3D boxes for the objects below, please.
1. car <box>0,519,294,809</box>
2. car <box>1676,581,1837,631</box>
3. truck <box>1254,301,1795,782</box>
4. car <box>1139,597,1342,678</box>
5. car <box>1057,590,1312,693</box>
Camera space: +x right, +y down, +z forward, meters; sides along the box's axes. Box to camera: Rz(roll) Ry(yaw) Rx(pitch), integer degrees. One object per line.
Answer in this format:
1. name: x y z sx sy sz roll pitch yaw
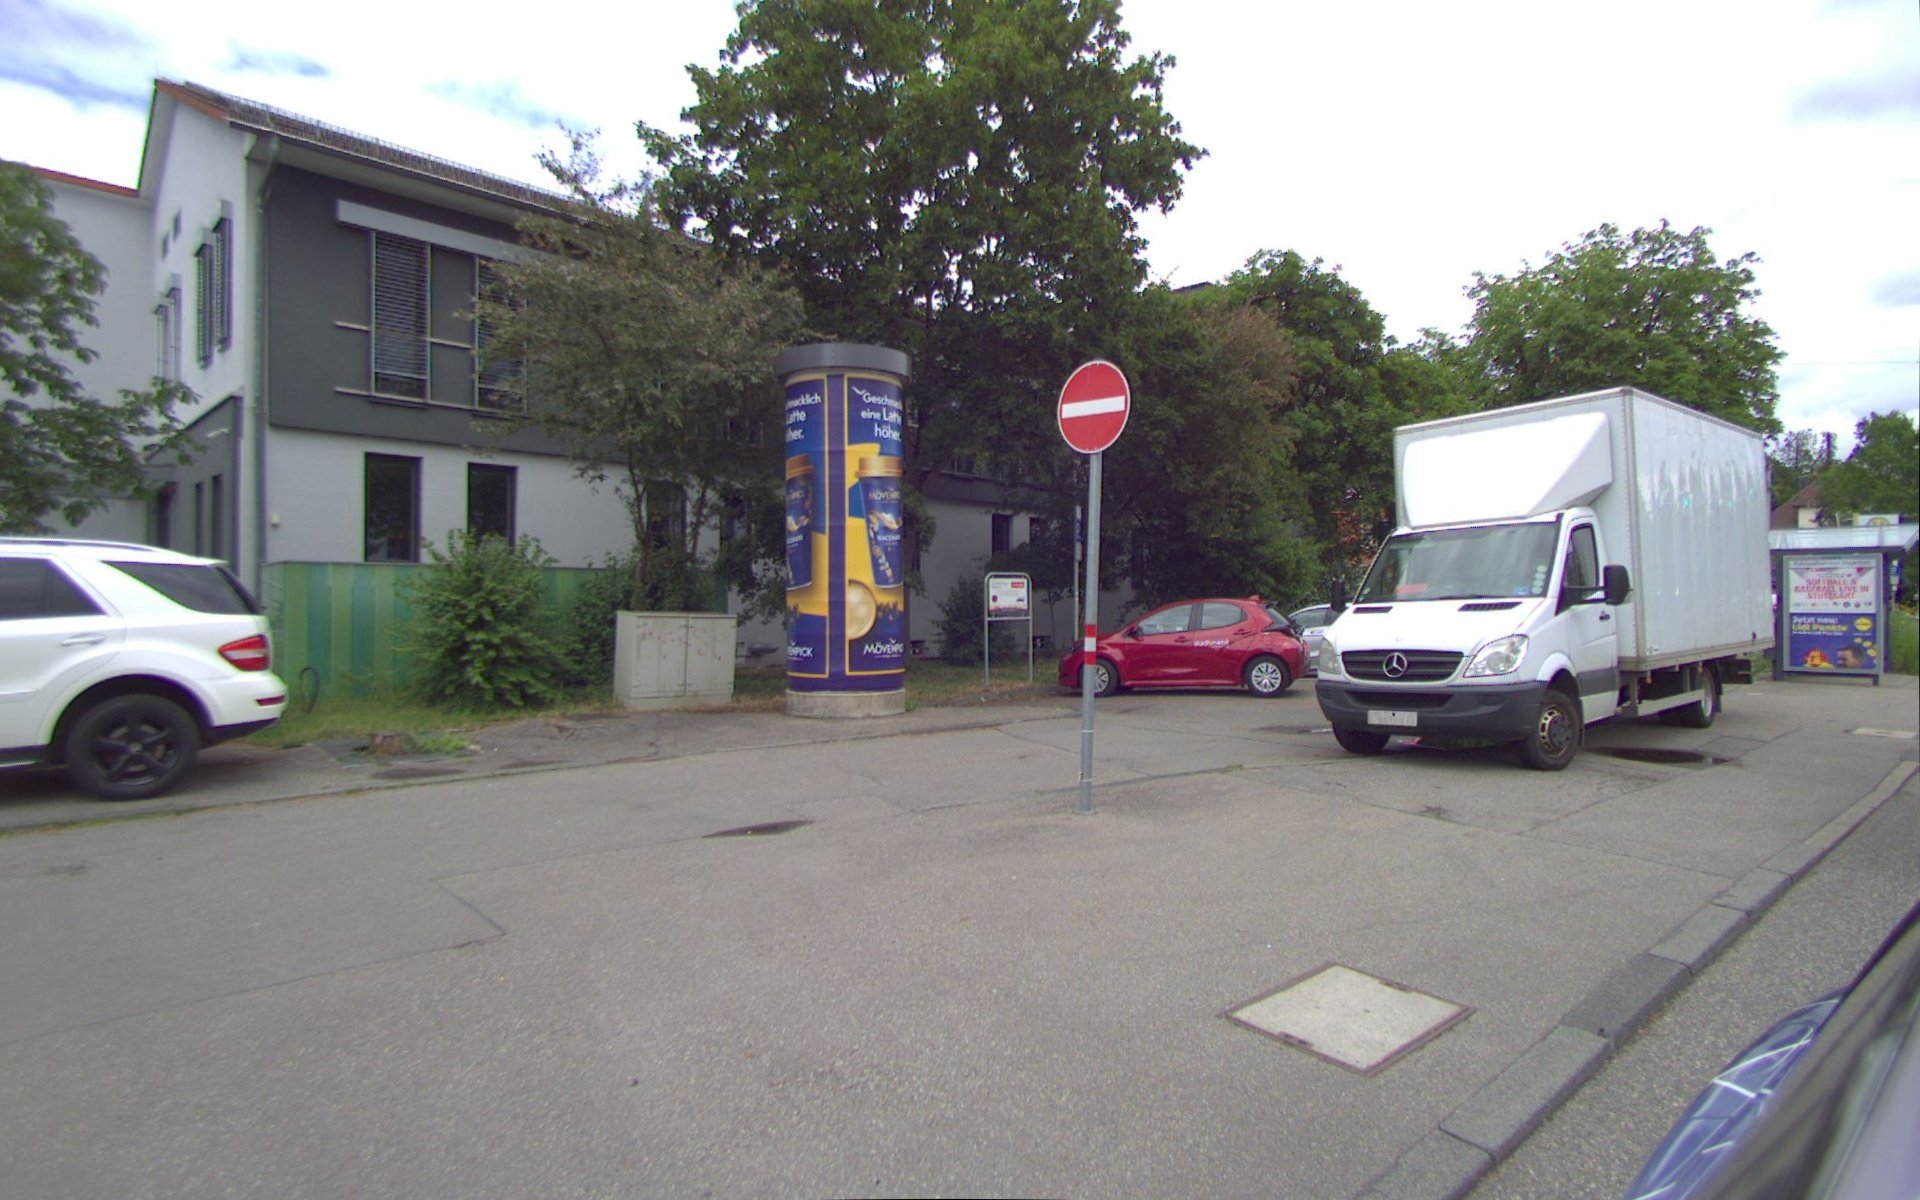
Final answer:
1. car: -7.287 0.395 6.837 4.440 1.860 1.997 -1 2 -42
2. car: 29.539 0.227 37.612 4.603 1.771 1.852 0 0 -3
3. truck: 6.515 -0.450 10.987 7.671 3.570 2.578 0 0 -40
4. car: 5.597 0.700 20.259 3.754 1.492 1.787 0 0 19
5. car: 3.508 0.628 15.849 3.687 1.464 1.595 -1 -1 23
